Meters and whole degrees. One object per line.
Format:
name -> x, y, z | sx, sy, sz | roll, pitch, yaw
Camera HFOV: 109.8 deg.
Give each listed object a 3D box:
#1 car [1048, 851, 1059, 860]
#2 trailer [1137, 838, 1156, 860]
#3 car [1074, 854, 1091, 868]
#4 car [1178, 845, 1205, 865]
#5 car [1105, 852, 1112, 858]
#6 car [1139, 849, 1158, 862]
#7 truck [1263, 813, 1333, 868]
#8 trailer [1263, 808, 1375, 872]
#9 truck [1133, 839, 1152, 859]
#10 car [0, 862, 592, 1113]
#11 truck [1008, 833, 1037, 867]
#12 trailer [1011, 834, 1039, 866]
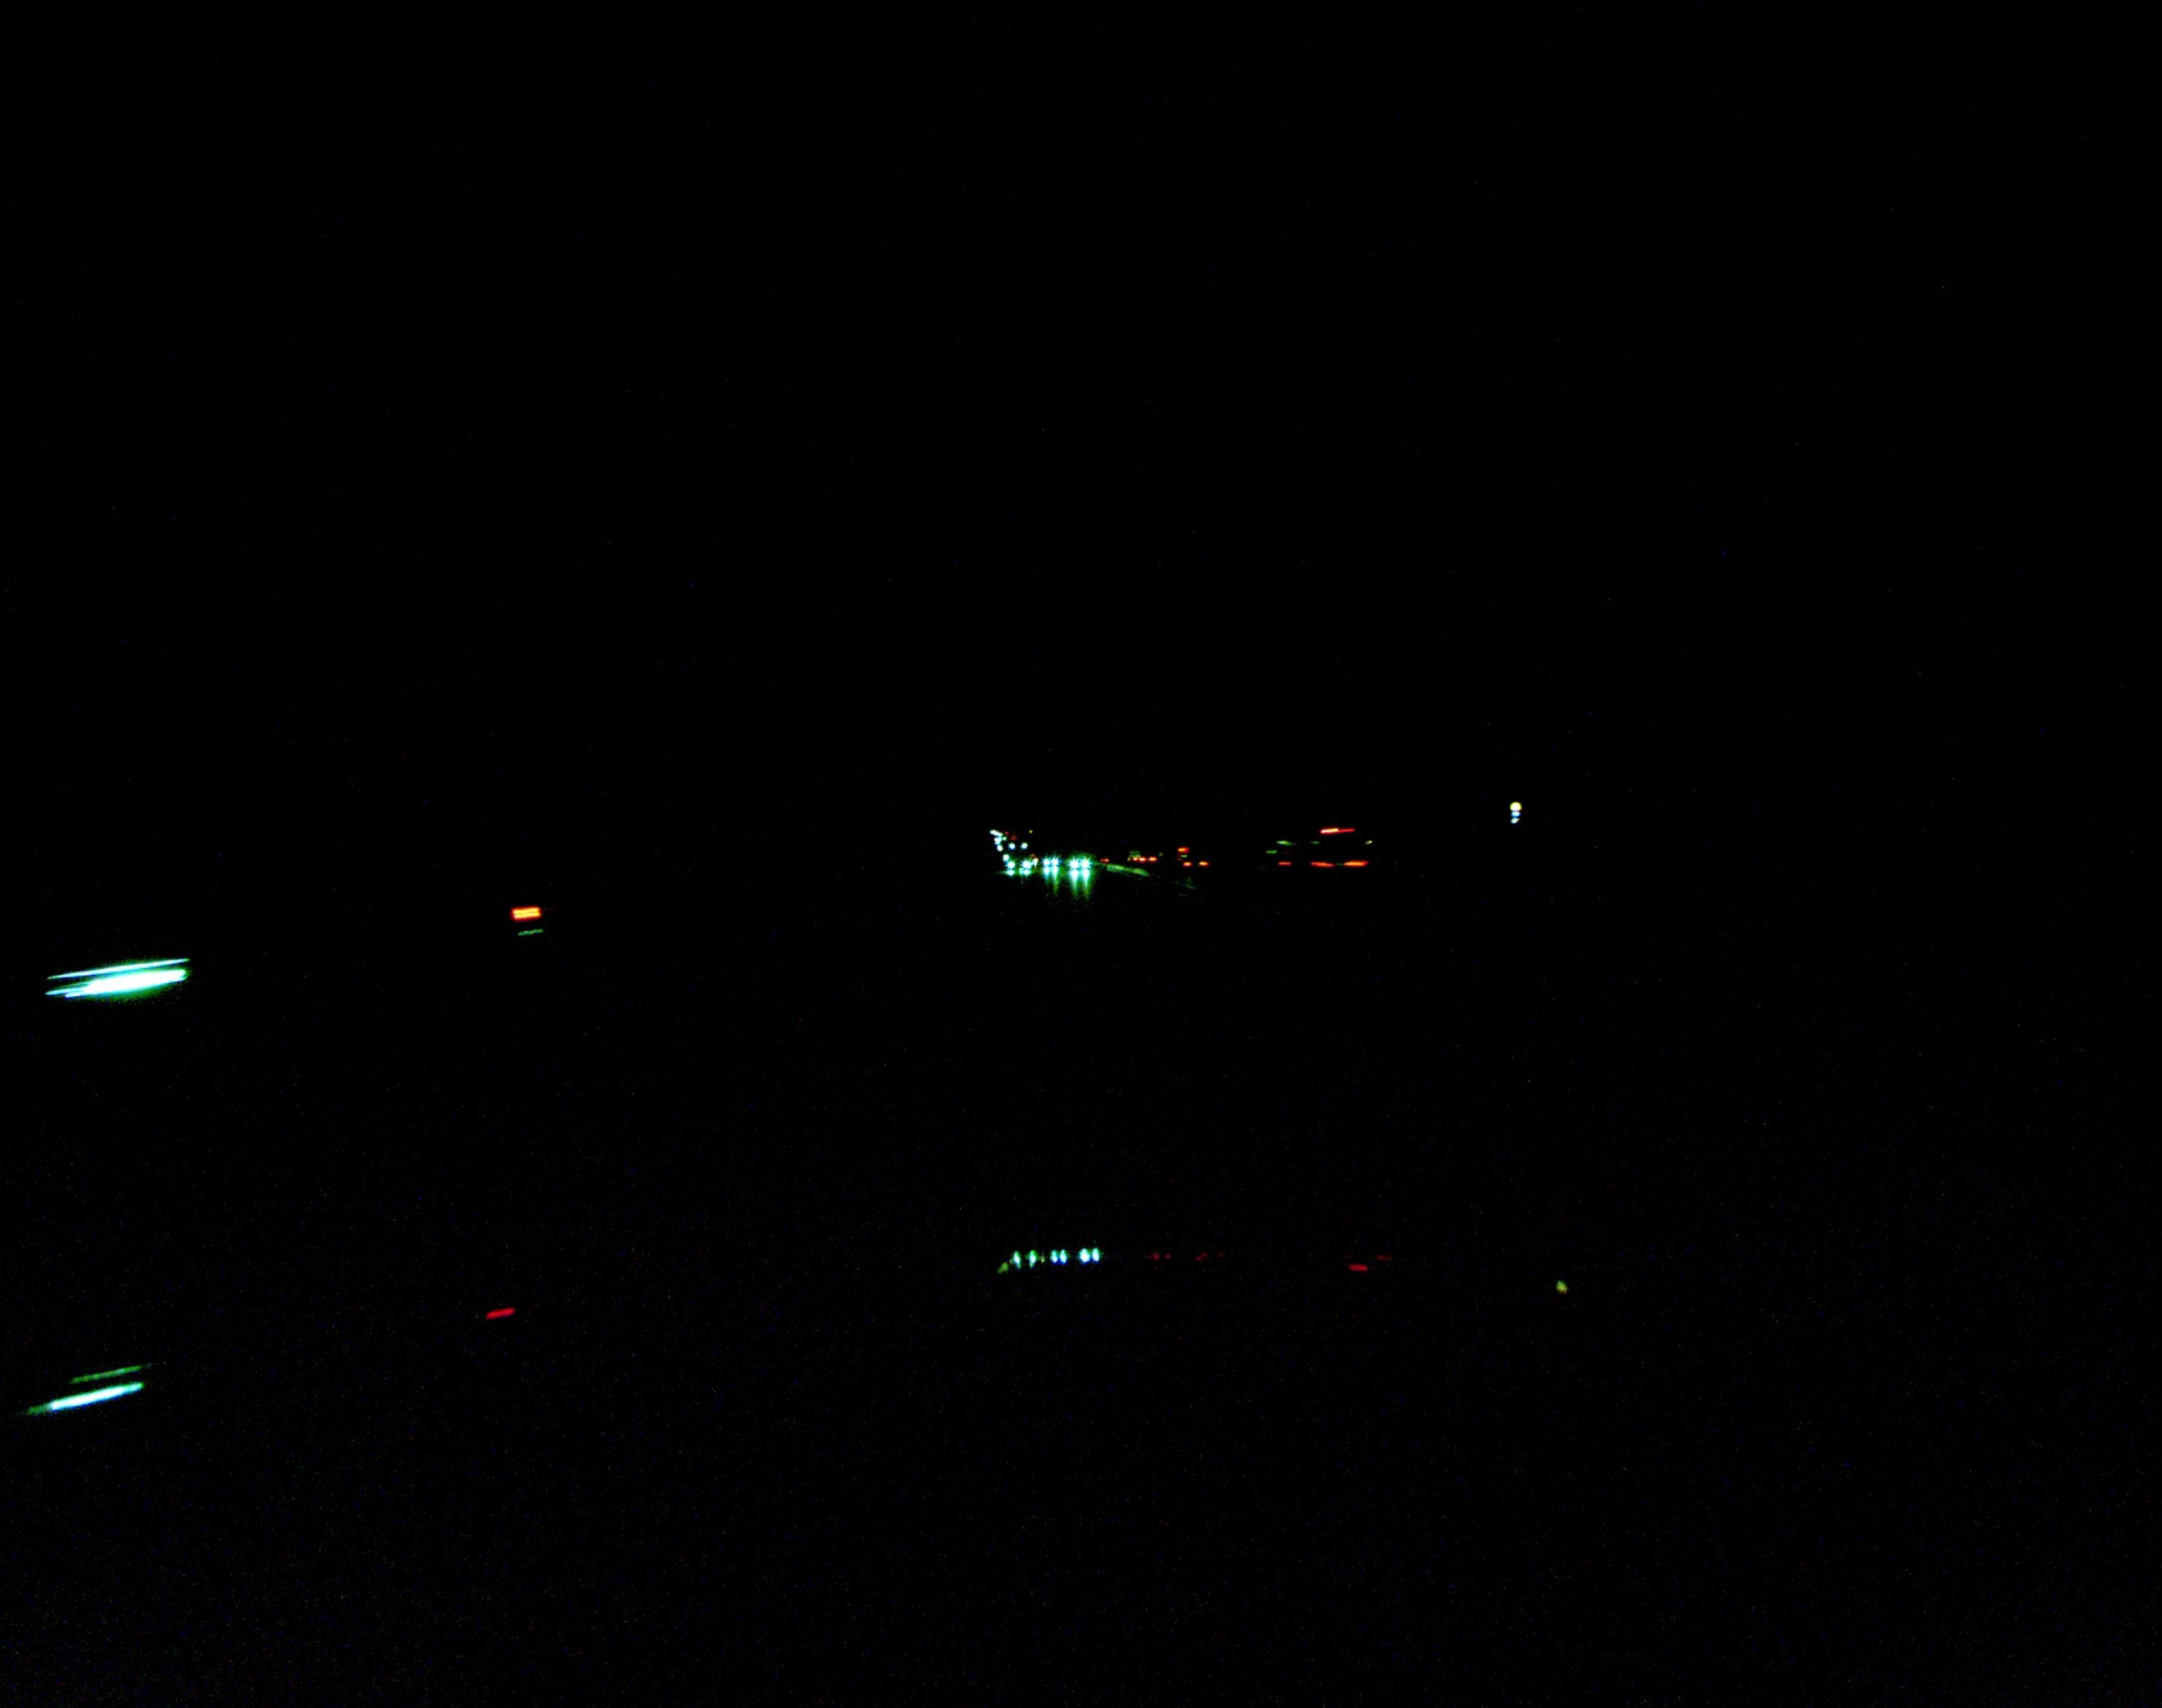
car -> -4.912, 0.271, 137.180 | 1.940, 1.608, 3.999 | -1, 1, -2
trailer -> 13.844, -1.092, 160.510 | 3.058, 4.412, 8.600 | -2, 0, -1
car -> 0.171, 0.810, 92.947 | 2.012, 1.652, 4.000 | -1, 1, 1
car -> 12.764, 0.050, 88.079 | 2.058, 2.185, 6.965 | -1, 0, -1
car -> 7.493, 0.273, 207.375 | 1.773, 1.376, 4.389 | -2, 0, -2
car -> 8.766, 0.234, 99.487 | 2.071, 1.613, 4.695 | -2, 0, 0
truck -> 16.980, -1.017, 59.931 | 3.445, 3.983, 6.774 | -2, 1, 0
trailer -> 17.002, -0.981, 55.936 | 3.445, 3.983, 14.757 | -2, 1, 0
truck -> 13.688, -1.081, 170.017 | 3.058, 4.412, 10.422 | -2, 0, -1
car -> -7.866, 1.002, 8.030 | 1.998, 1.707, 5.167 | -2, 0, 0
truck -> -7.979, -0.561, 104.194 | 3.346, 4.408, 6.992 | -2, 1, -1
trailer -> -8.168, -0.630, 112.434 | 3.346, 4.408, 13.573 | -2, 1, -1
